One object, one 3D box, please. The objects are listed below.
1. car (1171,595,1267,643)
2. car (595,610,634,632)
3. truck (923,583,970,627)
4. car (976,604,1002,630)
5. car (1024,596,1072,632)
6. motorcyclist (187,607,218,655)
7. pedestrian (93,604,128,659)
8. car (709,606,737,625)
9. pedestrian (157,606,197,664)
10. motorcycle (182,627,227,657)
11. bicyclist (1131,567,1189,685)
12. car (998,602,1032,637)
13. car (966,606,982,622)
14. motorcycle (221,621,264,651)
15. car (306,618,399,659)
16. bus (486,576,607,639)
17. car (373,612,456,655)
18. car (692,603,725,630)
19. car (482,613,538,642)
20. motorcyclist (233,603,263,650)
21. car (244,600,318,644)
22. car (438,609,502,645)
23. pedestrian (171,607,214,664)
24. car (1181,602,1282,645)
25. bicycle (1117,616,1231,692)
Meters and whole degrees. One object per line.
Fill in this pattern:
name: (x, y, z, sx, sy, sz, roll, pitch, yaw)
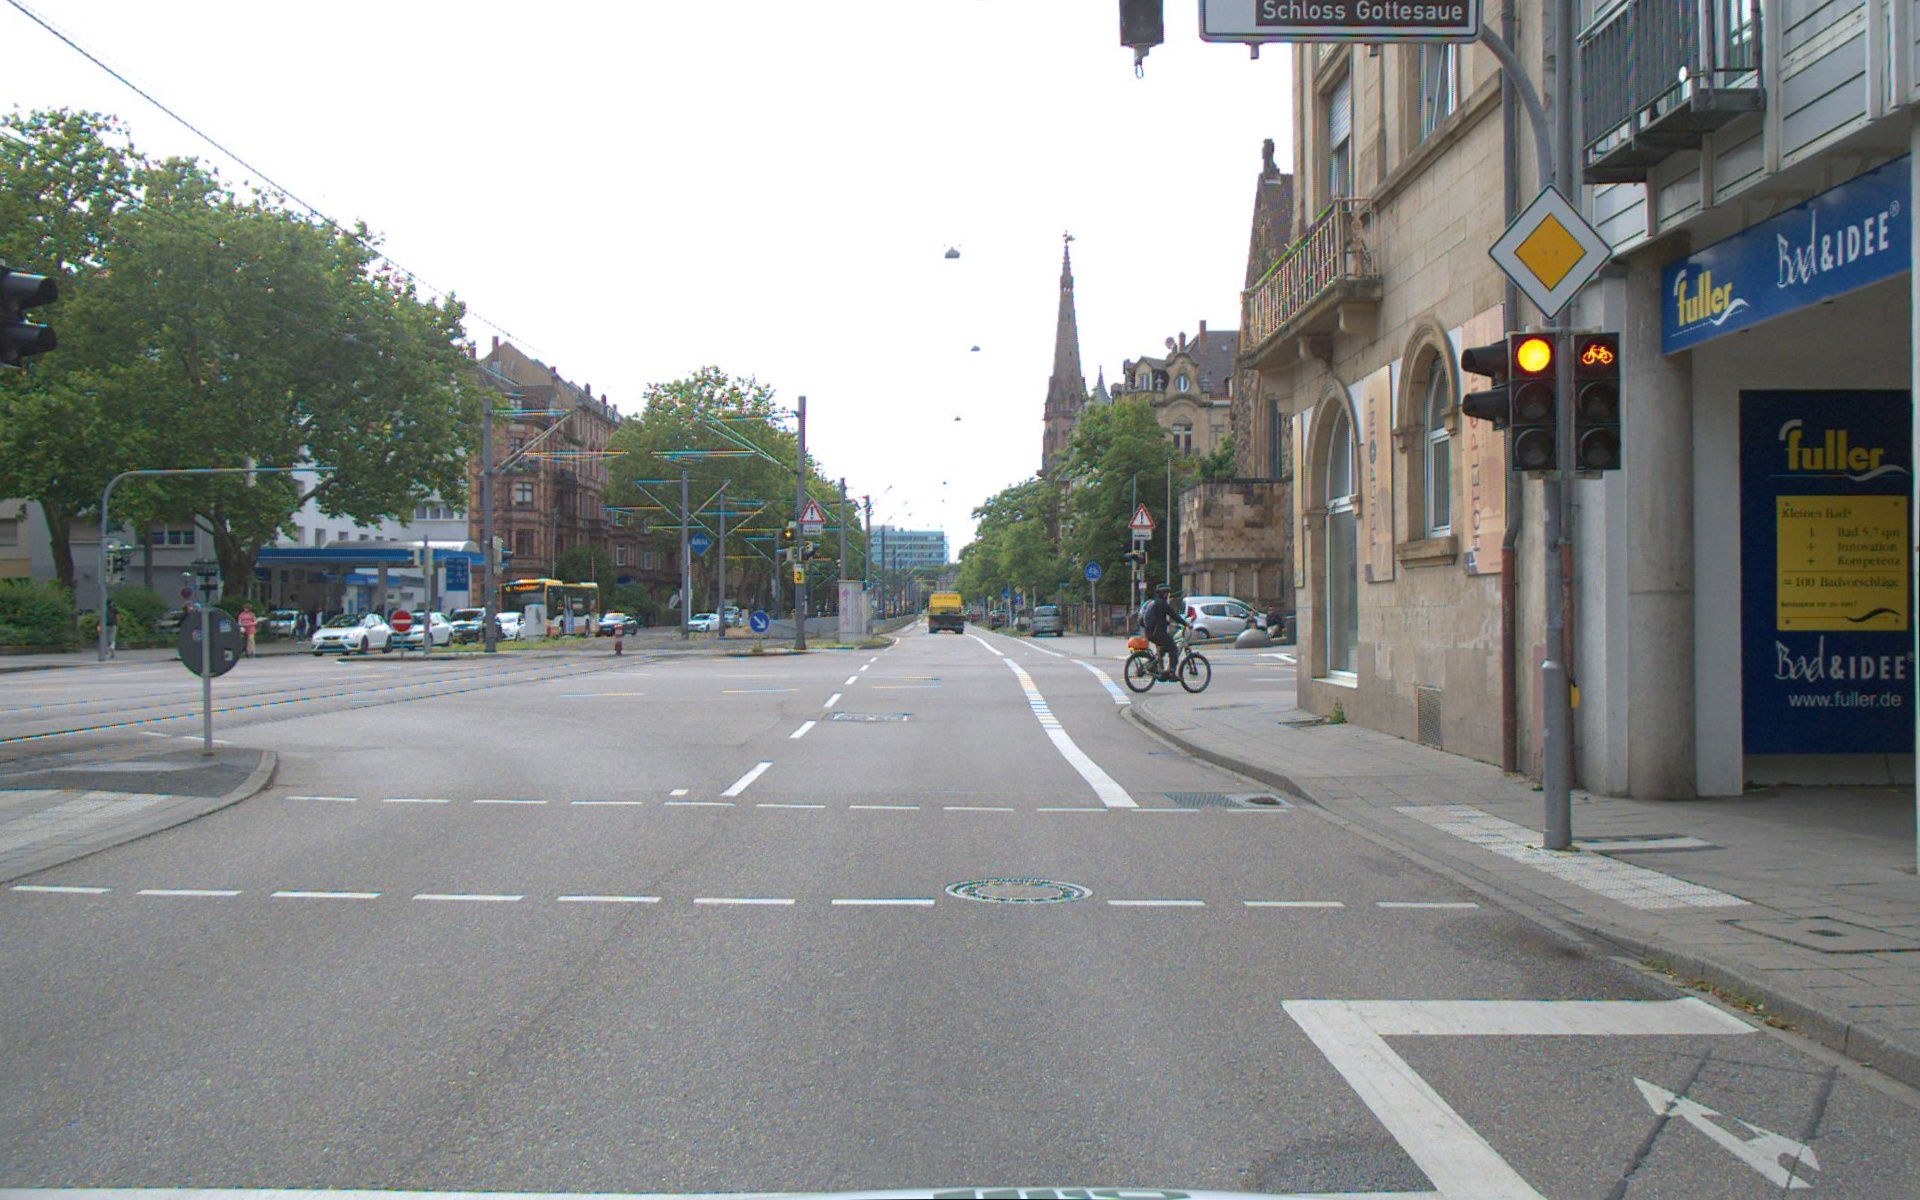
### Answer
car: (10.689, 0.790, 68.543, 3.638, 1.888, 2.000, 1, 0, -1)
car: (-21.562, 1.301, 103.331, 1.622, 1.344, 3.638, 1, 0, 1)
truck: (-0.898, 0.354, 110.894, 2.993, 2.817, 9.813, 0, 0, -1)
car: (2.380, 1.379, 135.990, 1.953, 2.049, 3.999, 1, 0, -1)
car: (4.814, 0.767, 90.034, 1.951, 1.888, 4.030, 1, 0, 12)
motorcyclist: (-24.679, 0.998, 53.894, 0.607, 1.546, 0.873, 0, 0, -1)
pedestrian: (-26.777, 0.987, 52.146, 0.669, 1.720, 0.742, 1, -1, 4)
car: (-21.323, 1.371, 148.921, 1.953, 1.639, 3.999, 1, 0, -1)
pedestrian: (-23.915, 1.065, 50.525, 0.849, 1.743, 0.691, 0, 0, 3)
motorcycle: (-24.681, 1.374, 54.064, 0.594, 0.945, 1.951, 0, 0, 0)
bicyclist: (3.539, 0.459, 29.305, 0.684, 2.049, 0.775, 1, -1, -29)
car: (3.291, 1.173, 99.664, 1.952, 2.049, 4.000, 1, 0, 1)
car: (1.781, 1.772, 216.819, 1.953, 2.049, 3.999, 1, 0, -1)
motorcycle: (-23.692, 1.172, 54.659, 0.594, 0.945, 1.951, 0, 0, 0)
car: (-21.438, 1.335, 58.563, 1.711, 1.344, 4.075, 1, 0, 1)
bus: (-21.968, 0.420, 88.741, 3.164, 3.088, 12.312, 1, 0, 1)
car: (-21.425, 1.291, 65.115, 1.953, 1.622, 3.999, 1, 0, -1)
car: (-19.175, 1.246, 126.354, 1.953, 2.049, 3.999, 1, 0, -1)
car: (-21.381, 1.287, 78.686, 1.622, 1.344, 3.638, 1, 0, 1)
motorcyclist: (-23.661, 0.862, 54.994, 0.607, 1.546, 0.873, 0, 0, -1)
car: (-32.959, 1.051, 80.398, 1.953, 2.049, 3.999, 0, 0, -1)
car: (-21.225, 1.142, 71.768, 1.622, 1.504, 3.638, 1, 0, 1)
pedestrian: (-23.763, 1.106, 51.229, 0.852, 1.743, 0.876, 0, 0, 11)
car: (10.673, 0.921, 65.108, 3.638, 1.591, 2.000, 1, 0, -1)
bicycle: (3.814, 0.955, 29.457, 1.970, 1.294, 0.743, 1, -1, -31)
